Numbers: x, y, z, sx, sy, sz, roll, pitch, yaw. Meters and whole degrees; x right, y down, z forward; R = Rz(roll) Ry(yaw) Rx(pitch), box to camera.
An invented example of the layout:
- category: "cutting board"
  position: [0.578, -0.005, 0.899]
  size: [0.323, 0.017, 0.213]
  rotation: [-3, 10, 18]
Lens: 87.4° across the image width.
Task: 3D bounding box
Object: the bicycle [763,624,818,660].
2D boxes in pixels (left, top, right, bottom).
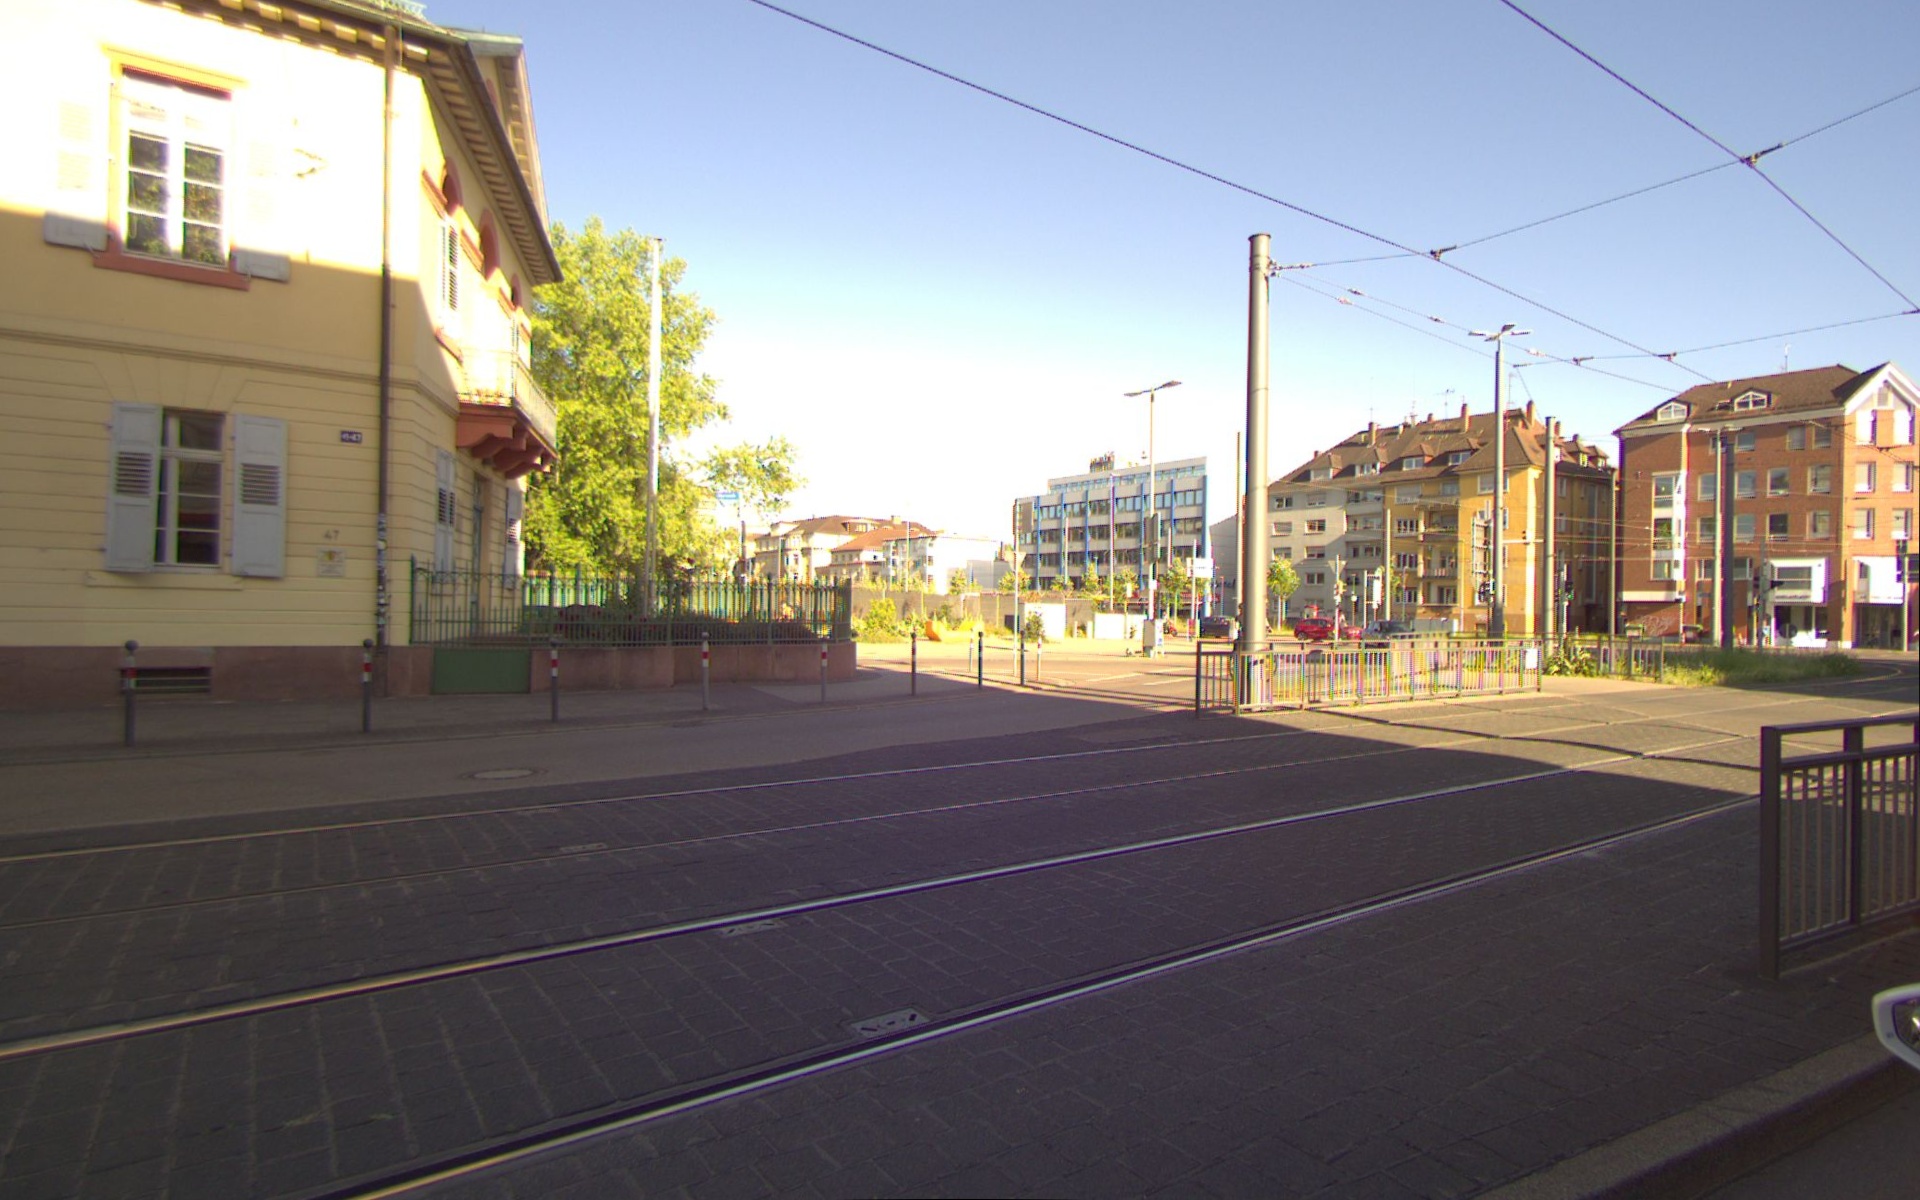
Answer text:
- category: "bicycle"
  position: [-5.103, 1.265, 30.309]
  size: [1.570, 1.007, 0.404]
  rotation: [2, 0, 9]

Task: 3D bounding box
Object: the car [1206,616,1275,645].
- category: "car"
  position: [17.999, 1.935, 64.573]
  size: [1.762, 1.694, 3.955]
  rotation: [2, 0, -39]

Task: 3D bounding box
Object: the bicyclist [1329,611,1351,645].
- category: "bicyclist"
  position: [21.317, 1.576, 56.367]
  size: [0.785, 1.832, 0.892]
  rotation: [2, 0, -42]

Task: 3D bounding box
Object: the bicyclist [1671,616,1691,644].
- category: "bicyclist"
  position: [39.729, 1.642, 55.367]
  size: [0.688, 1.523, 0.630]
  rotation: [2, 0, -30]

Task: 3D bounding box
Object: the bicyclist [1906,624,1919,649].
- category: "bicyclist"
  position: [62.680, 2.412, 65.855]
  size: [0.737, 1.584, 0.781]
  rotation: [2, 0, -28]

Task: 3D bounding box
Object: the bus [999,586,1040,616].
- category: "bus"
  position: [6.448, 0.123, 108.983]
  size: [2.748, 3.172, 3.487]
  rotation: [2, 0, -39]

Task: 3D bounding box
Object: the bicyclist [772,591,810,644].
- category: "bicyclist"
  position: [-5.103, 0.526, 30.312]
  size: [1.022, 1.542, 0.392]
  rotation: [2, 0, 9]

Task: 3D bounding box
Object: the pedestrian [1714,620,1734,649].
- category: "pedestrian"
  position: [49.562, 2.240, 65.138]
  size: [0.737, 1.845, 0.781]
  rotation: [2, 0, -28]

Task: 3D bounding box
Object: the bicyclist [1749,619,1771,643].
- category: "bicyclist"
  position: [50.336, 1.926, 63.175]
  size: [0.958, 1.490, 0.702]
  rotation: [1, 0, -22]

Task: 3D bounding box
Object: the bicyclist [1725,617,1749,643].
- category: "bicyclist"
  position: [45.552, 1.748, 58.862]
  size: [0.688, 1.523, 0.894]
  rotation: [2, 0, -30]

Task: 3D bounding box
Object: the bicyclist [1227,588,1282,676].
- category: "bicyclist"
  position: [6.117, 0.649, 20.895]
  size: [0.749, 1.783, 0.747]
  rotation: [2, 0, -28]

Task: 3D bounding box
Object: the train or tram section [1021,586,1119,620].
- category: "train or tram section"
  position: [11.172, 0.237, 103.312]
  size: [2.783, 3.172, 11.134]
  rotation: [2, 0, -40]

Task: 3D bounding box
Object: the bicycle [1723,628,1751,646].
- category: "bicycle"
  position: [45.547, 2.162, 58.865]
  size: [2.220, 0.984, 0.521]
  rotation: [2, 0, -31]

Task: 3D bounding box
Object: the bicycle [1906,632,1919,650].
- category: "bicycle"
  position: [62.887, 2.688, 65.905]
  size: [2.197, 1.103, 0.535]
  rotation: [2, 0, -28]

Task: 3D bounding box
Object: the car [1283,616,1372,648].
- category: "car"
  position: [21.866, 1.878, 59.890]
  size: [1.984, 1.723, 4.545]
  rotation: [2, 0, -41]

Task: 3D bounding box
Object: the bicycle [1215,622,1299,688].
- category: "bicycle"
  position: [6.106, 1.111, 20.733]
  size: [0.479, 1.238, 1.841]
  rotation: [2, 0, -28]

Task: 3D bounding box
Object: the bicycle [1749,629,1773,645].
- category: "bicycle"
  position: [50.363, 2.333, 63.137]
  size: [1.669, 0.994, 0.403]
  rotation: [2, 0, -22]

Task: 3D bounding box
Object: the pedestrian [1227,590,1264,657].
- category: "pedestrian"
  position: [7.409, 0.608, 26.067]
  size: [0.759, 1.703, 0.592]
  rotation: [2, 0, 0]

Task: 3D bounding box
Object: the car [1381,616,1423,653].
- category: "car"
  position: [20.006, 1.529, 45.398]
  size: [1.614, 1.546, 3.862]
  rotation: [2, 0, 25]

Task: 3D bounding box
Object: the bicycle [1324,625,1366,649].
- category: "bicycle"
  position: [21.504, 2.067, 56.138]
  size: [0.542, 1.230, 2.168]
  rotation: [2, 0, -41]

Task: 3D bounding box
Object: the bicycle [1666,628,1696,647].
- category: "bicycle"
  position: [39.771, 2.060, 55.386]
  size: [2.220, 0.984, 0.444]
  rotation: [2, 0, -31]

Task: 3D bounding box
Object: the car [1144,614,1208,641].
- category: "car"
  position: [14.740, 1.864, 68.565]
  size: [1.895, 1.708, 3.916]
  rotation: [2, 0, -41]
